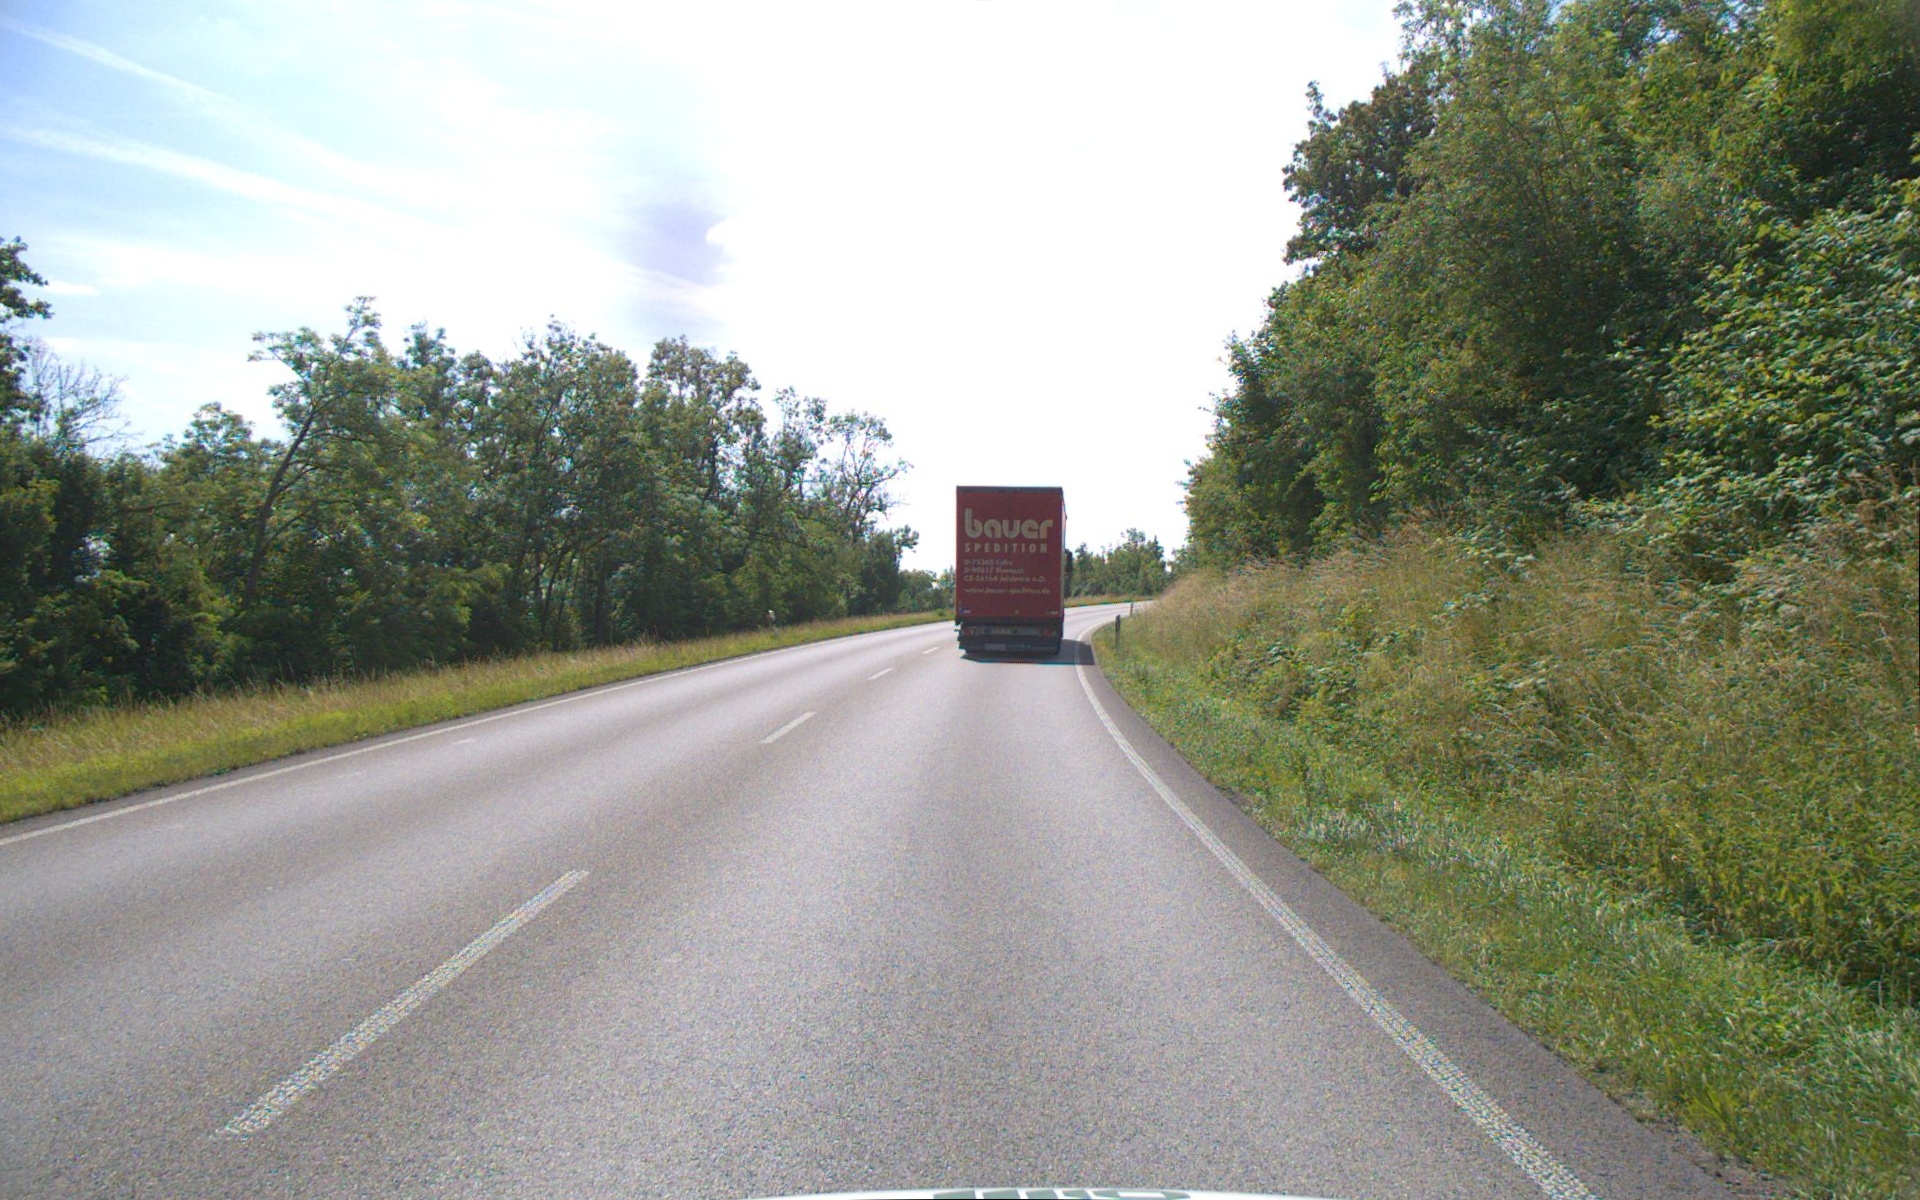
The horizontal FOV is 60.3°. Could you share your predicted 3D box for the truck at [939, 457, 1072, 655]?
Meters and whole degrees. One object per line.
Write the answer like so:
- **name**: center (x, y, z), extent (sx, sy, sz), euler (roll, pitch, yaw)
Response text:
- **truck**: center (1.381, -1.040, 44.372), extent (3.047, 4.584, 12.172), euler (0, 0, 3)
